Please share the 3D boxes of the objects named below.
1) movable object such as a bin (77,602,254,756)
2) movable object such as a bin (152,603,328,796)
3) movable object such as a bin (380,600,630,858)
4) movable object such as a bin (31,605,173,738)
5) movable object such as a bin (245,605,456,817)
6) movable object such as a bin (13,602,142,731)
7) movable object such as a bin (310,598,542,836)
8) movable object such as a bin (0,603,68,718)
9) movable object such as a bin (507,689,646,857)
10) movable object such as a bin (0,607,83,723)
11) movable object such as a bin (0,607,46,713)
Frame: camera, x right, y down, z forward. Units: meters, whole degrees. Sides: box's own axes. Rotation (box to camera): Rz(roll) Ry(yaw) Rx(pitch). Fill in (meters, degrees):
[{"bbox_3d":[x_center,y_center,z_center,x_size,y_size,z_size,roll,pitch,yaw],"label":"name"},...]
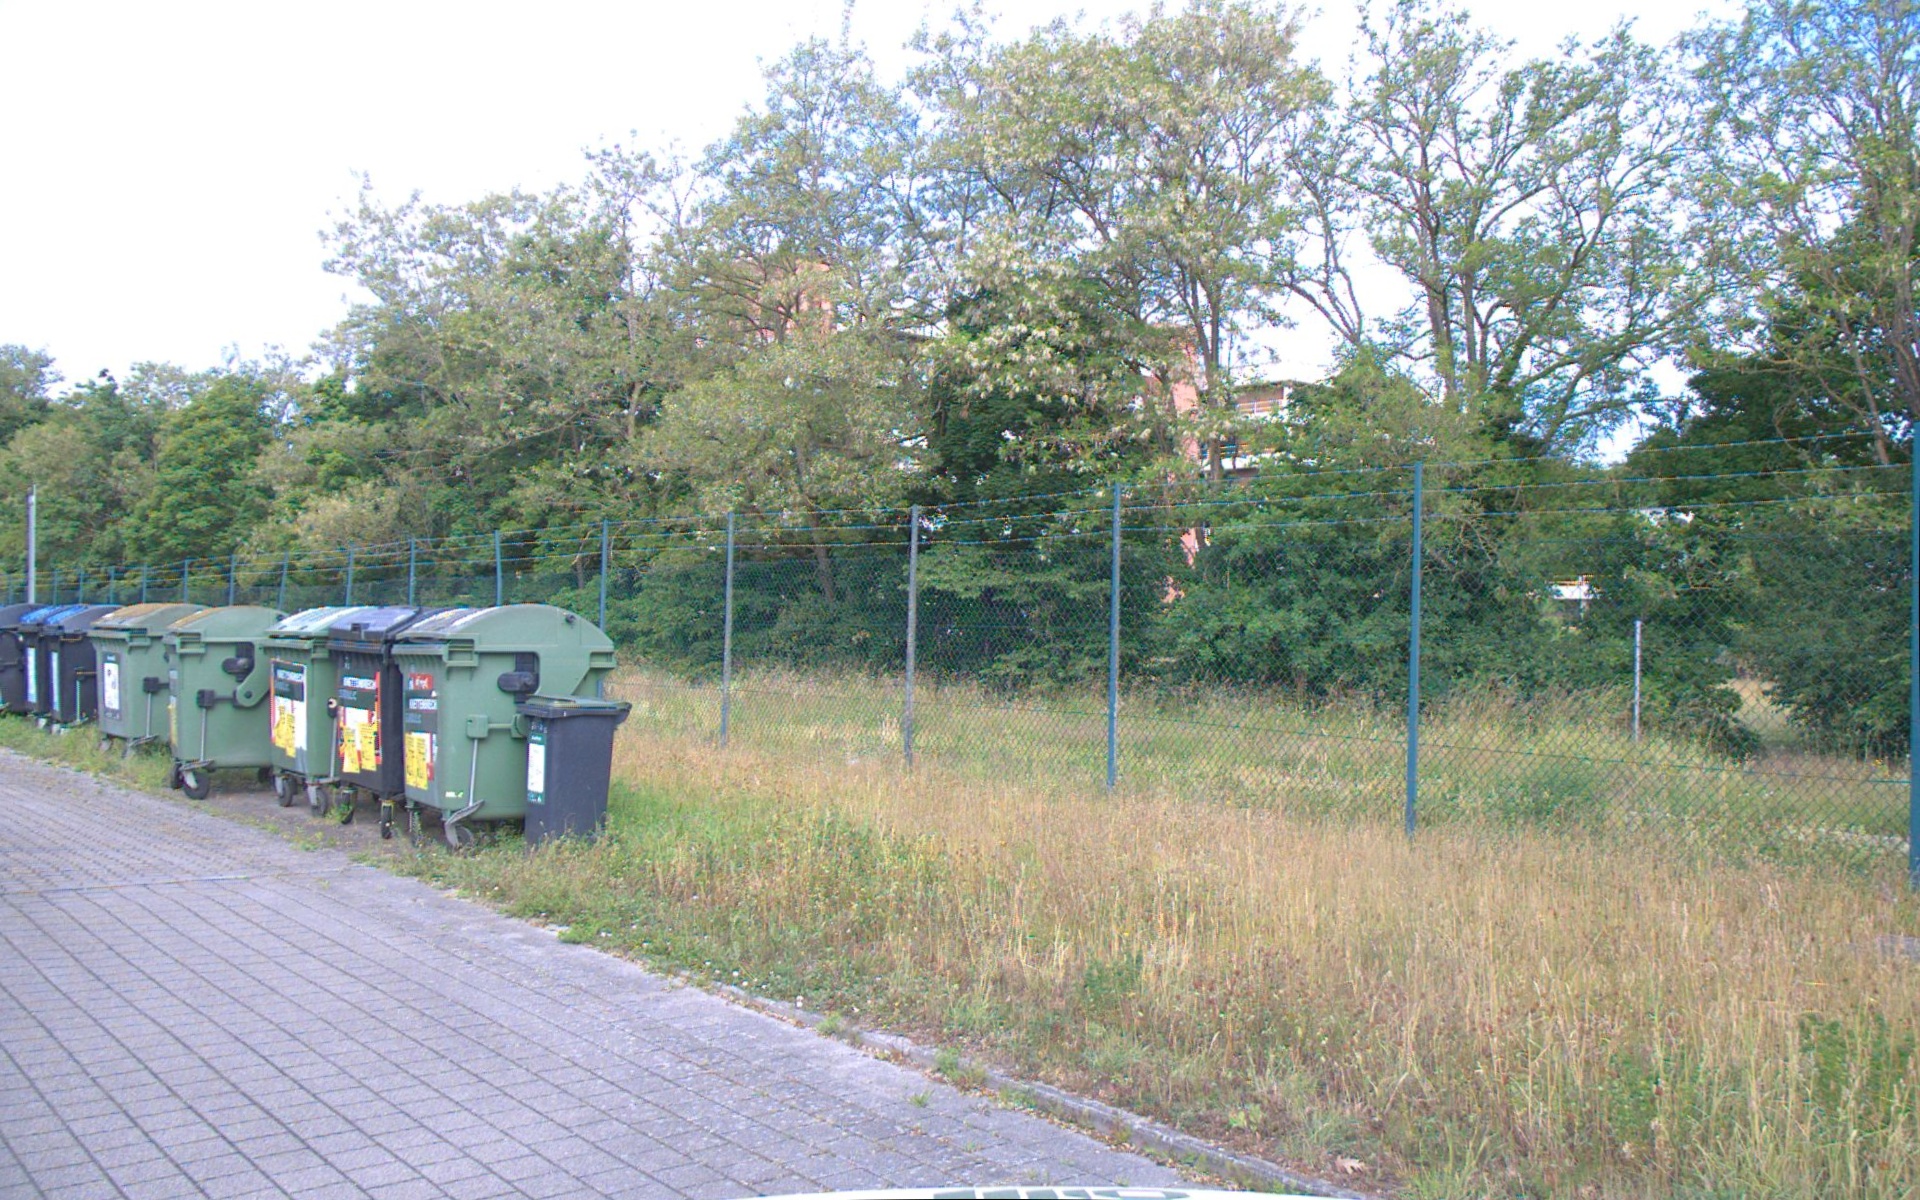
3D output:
[{"bbox_3d":[-7.249,0.705,15.078,1.116,1.319,1.359,3,-3,-41],"label":"movable object such as a bin"},{"bbox_3d":[-5.694,0.763,13.044,1.110,1.423,1.371,2,-2,-29],"label":"movable object such as a bin"},{"bbox_3d":[-2.770,0.744,9.999,1.117,1.420,1.342,2,-2,-31],"label":"movable object such as a bin"},{"bbox_3d":[-9.150,0.752,17.609,1.144,1.348,1.475,2,-3,-34],"label":"movable object such as a bin"},{"bbox_3d":[-4.452,0.778,12.048,1.061,1.430,1.367,3,-3,-37],"label":"movable object such as a bin"},{"bbox_3d":[-10.080,0.755,18.864,1.113,1.398,1.475,2,-3,-34],"label":"movable object such as a bin"},{"bbox_3d":[-3.586,0.748,11.061,1.061,1.460,1.380,3,-3,-37],"label":"movable object such as a bin"},{"bbox_3d":[-11.983,0.759,20.875,1.113,1.403,1.309,2,-3,-34],"label":"movable object such as a bin"},{"bbox_3d":[-2.149,0.950,9.266,0.594,0.881,0.579,2,-3,-32],"label":"movable object such as a bin"},{"bbox_3d":[-11.229,0.756,19.831,1.113,1.345,1.309,1,-1,-34],"label":"movable object such as a bin"},{"bbox_3d":[-12.867,0.789,21.975,1.113,1.374,1.408,2,-3,-34],"label":"movable object such as a bin"}]
